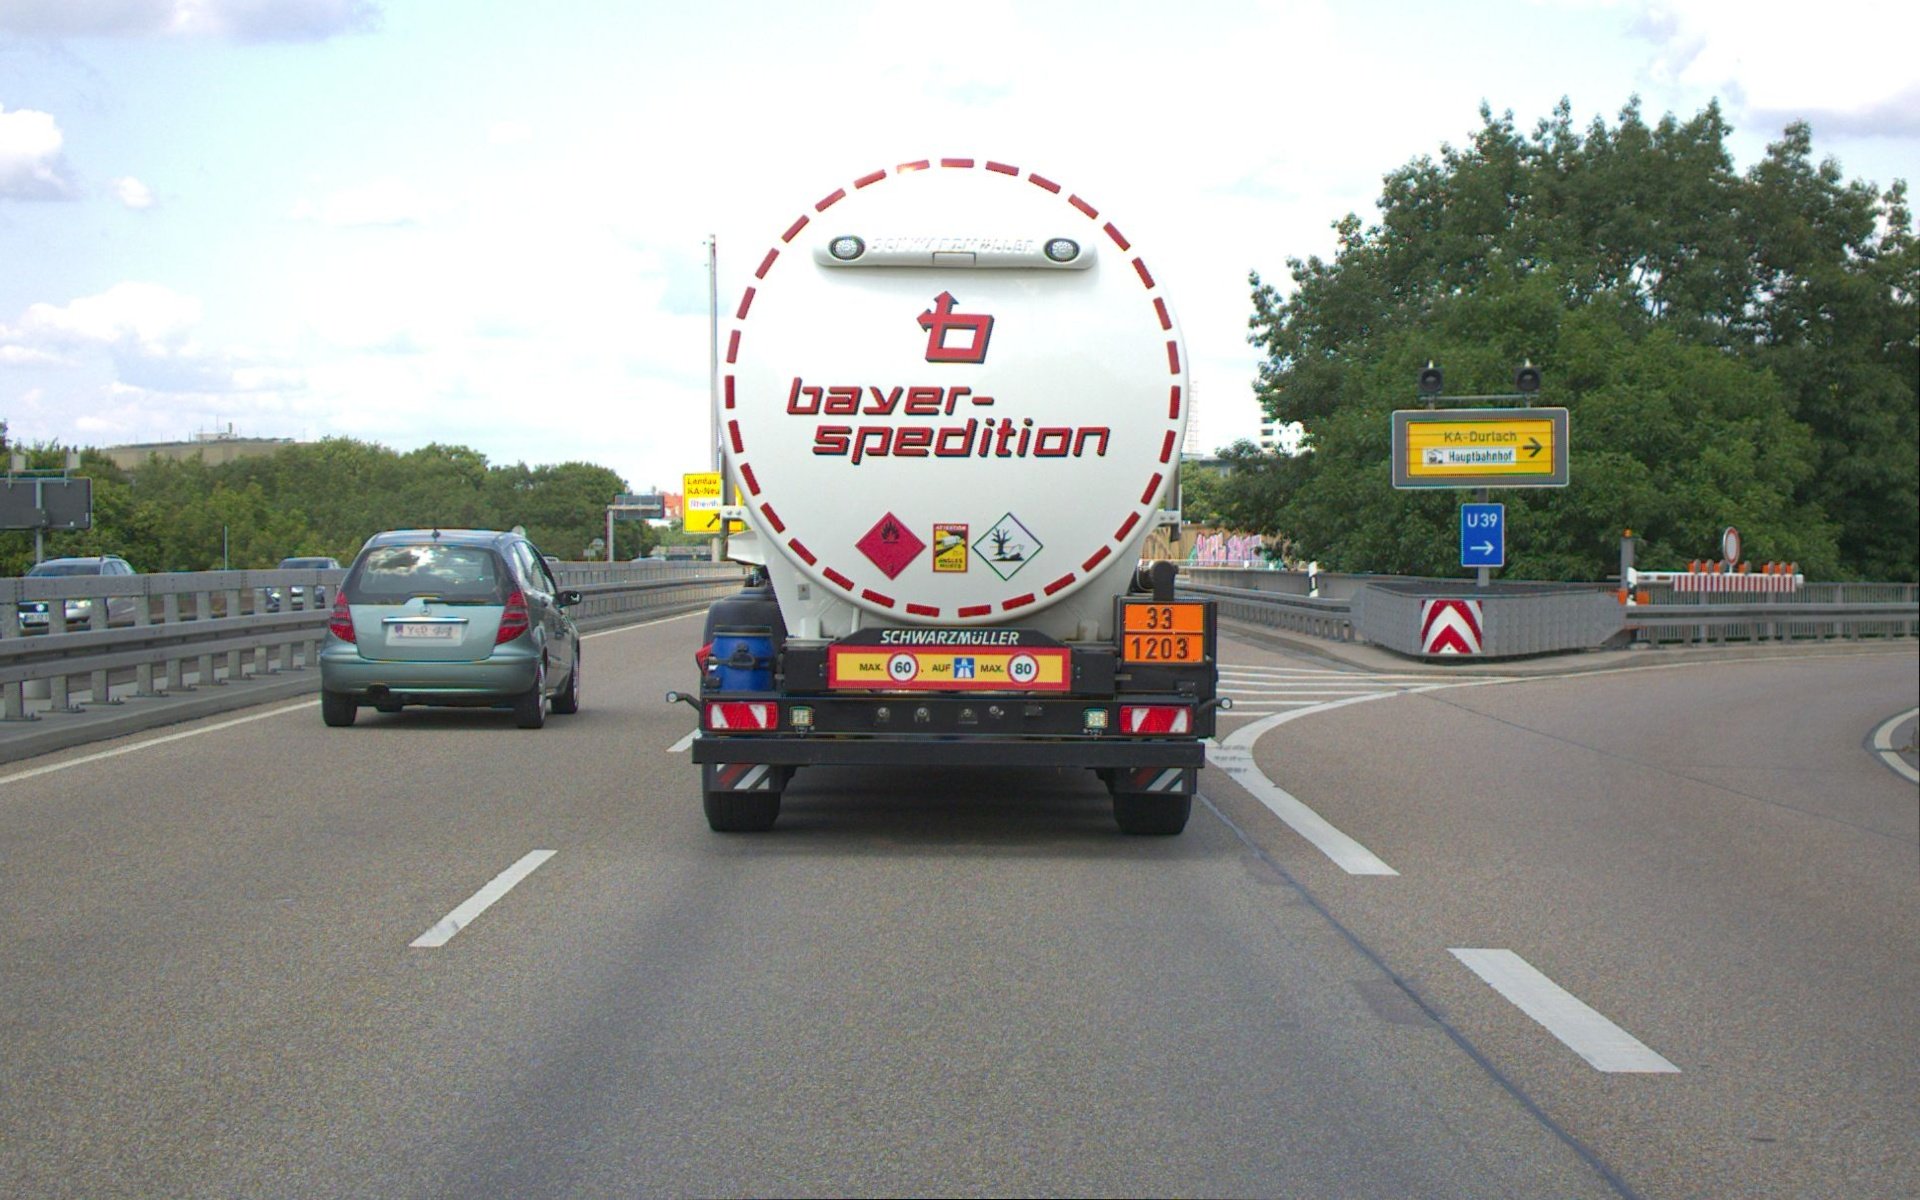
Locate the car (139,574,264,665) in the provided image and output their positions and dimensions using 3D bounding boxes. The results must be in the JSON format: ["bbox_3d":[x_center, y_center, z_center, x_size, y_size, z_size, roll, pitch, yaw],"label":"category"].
[{"bbox_3d":[-17.509,0.420,79.553,1.993,2.007,4.000,1,1,0],"label":"car"}]

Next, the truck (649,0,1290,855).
[{"bbox_3d":[-0.018,-1.068,19.977,2.895,4.354,8.030,1,1,-1],"label":"truck"}]

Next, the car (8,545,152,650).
[{"bbox_3d":[-15.672,-0.070,61.420,1.582,1.705,4.411,1,2,-2],"label":"car"}]

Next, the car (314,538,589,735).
[{"bbox_3d":[-4.177,0.250,28.781,1.747,1.526,4.000,0,1,-1],"label":"car"}]
